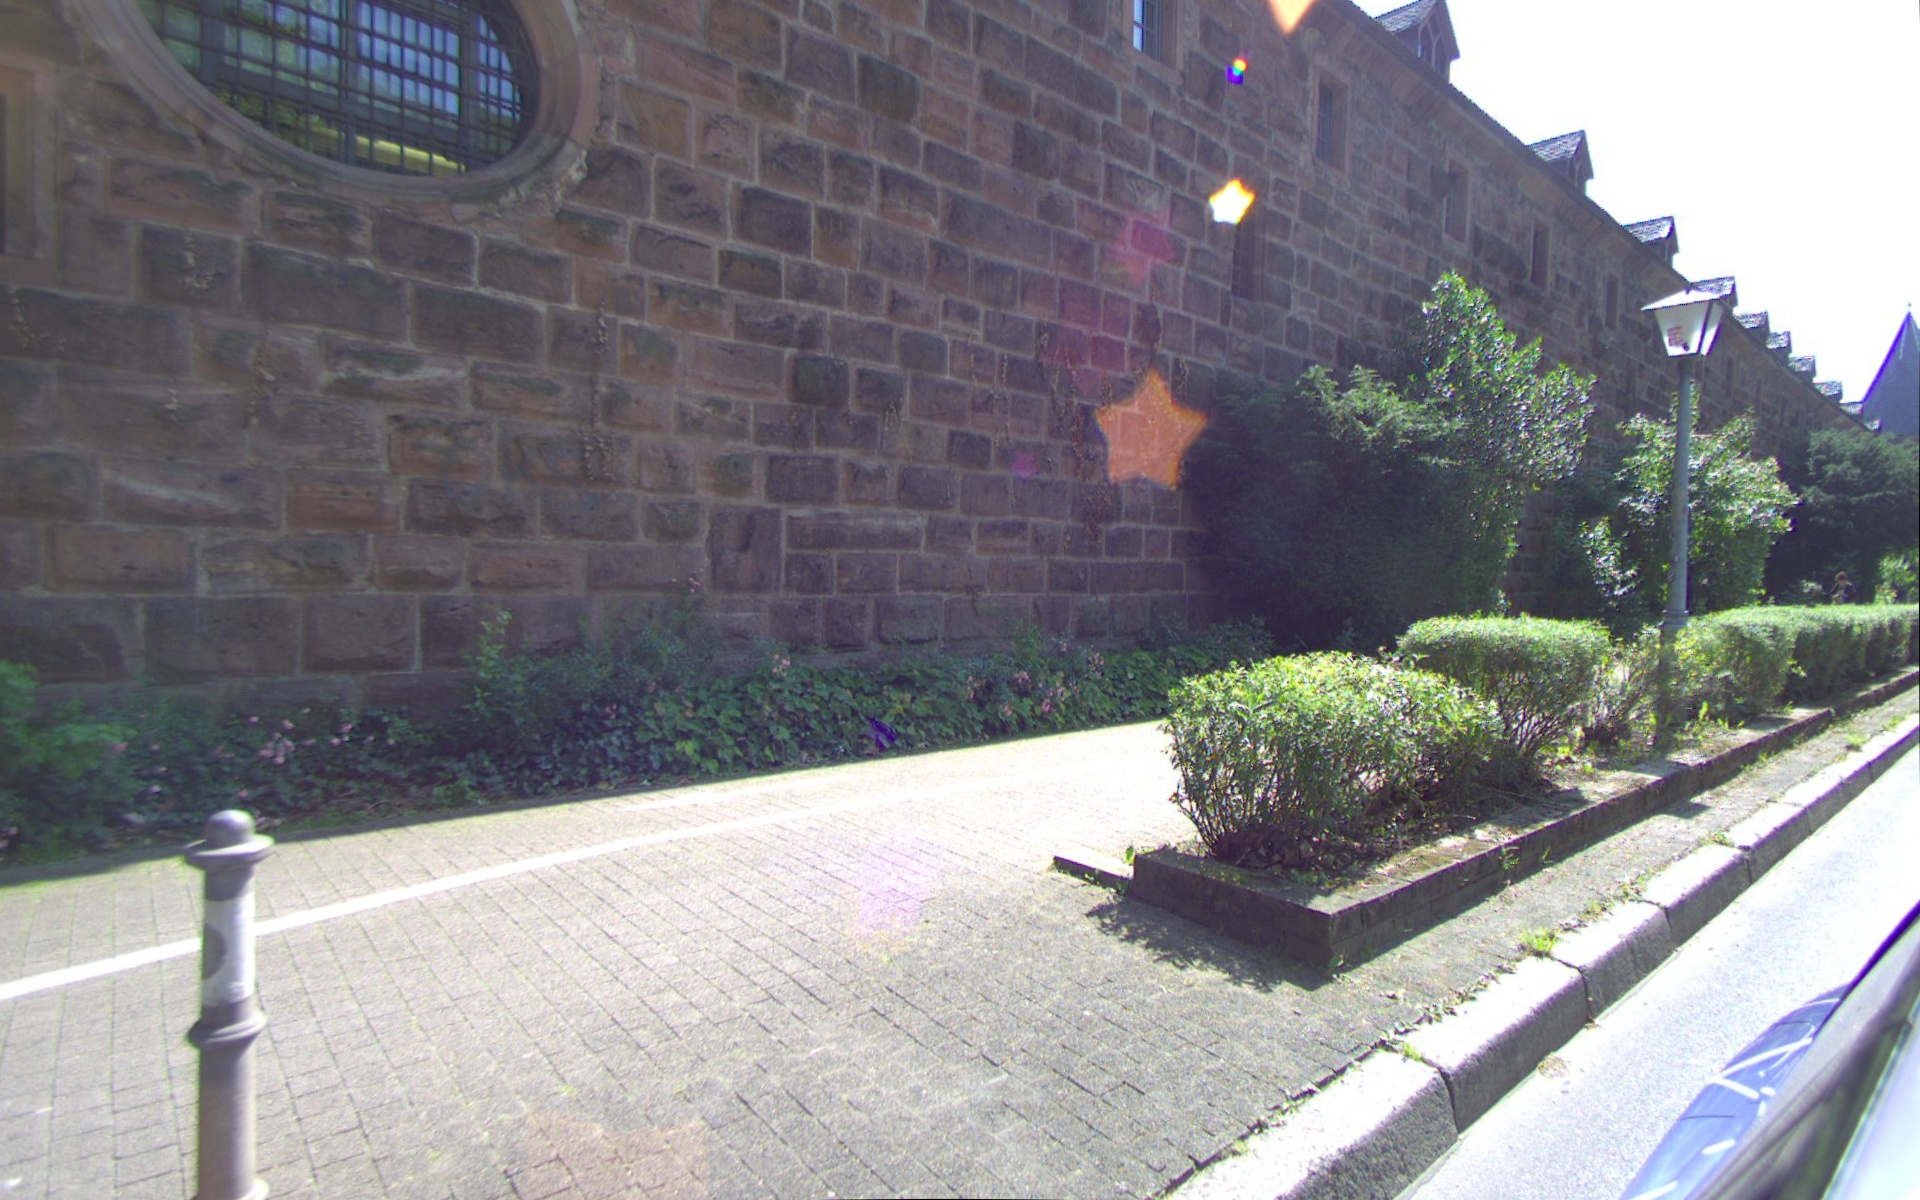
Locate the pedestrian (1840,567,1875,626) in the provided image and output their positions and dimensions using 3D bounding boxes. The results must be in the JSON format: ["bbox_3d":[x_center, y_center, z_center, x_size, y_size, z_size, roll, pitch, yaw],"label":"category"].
[{"bbox_3d":[24.246,-0.106,27.332,0.554,1.583,0.642,-1,1,-41],"label":"pedestrian"}]
